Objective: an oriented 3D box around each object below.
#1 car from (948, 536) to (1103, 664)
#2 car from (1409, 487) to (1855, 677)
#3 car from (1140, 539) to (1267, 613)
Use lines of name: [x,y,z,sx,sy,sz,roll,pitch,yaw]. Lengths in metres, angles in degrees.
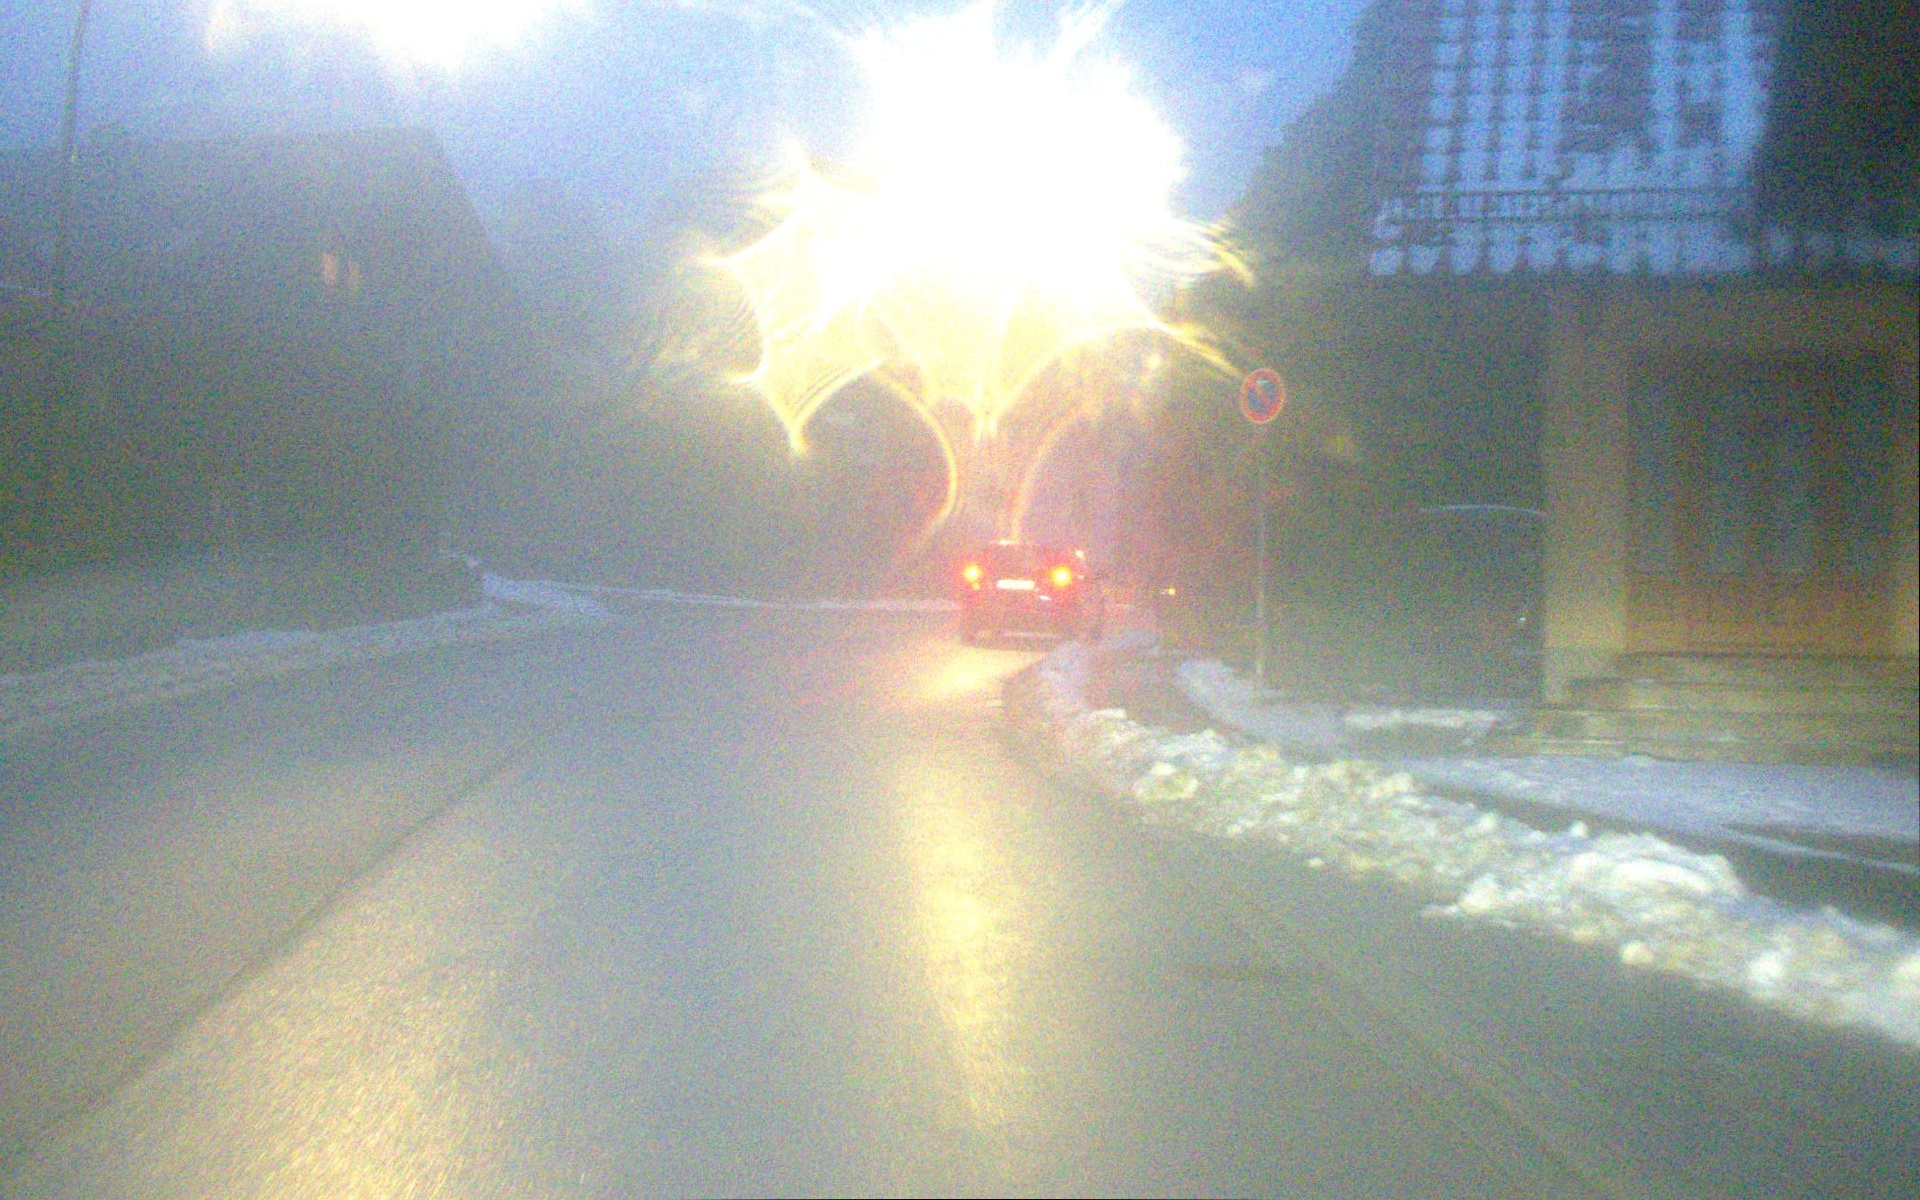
car: [1.009,0.035,50.660,1.994,1.731,3.877,-1,-2,5]
car: [6.326,-0.151,32.414,3.989,1.684,1.843,-1,0,12]
car: [5.810,-0.545,81.779,1.995,1.645,3.996,-1,-1,19]
